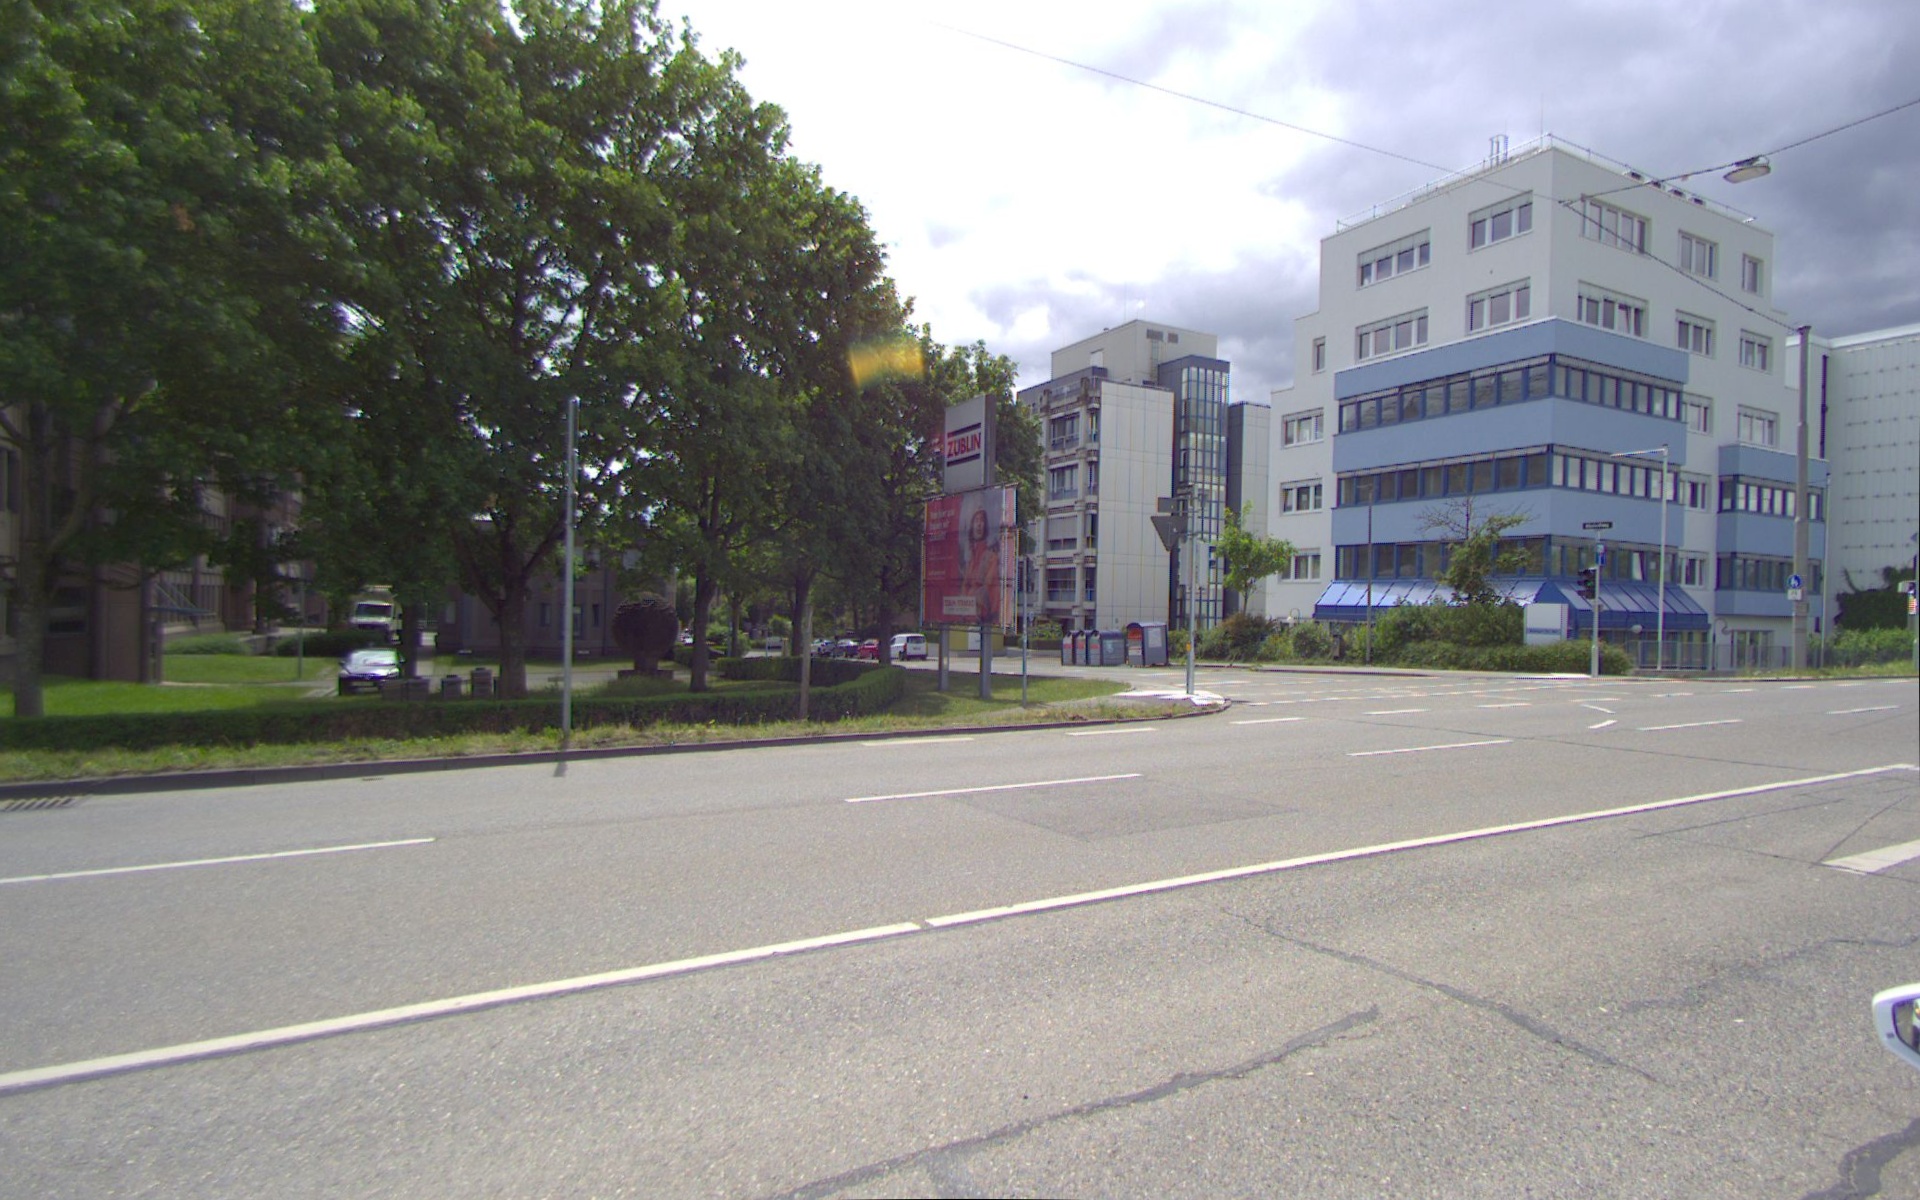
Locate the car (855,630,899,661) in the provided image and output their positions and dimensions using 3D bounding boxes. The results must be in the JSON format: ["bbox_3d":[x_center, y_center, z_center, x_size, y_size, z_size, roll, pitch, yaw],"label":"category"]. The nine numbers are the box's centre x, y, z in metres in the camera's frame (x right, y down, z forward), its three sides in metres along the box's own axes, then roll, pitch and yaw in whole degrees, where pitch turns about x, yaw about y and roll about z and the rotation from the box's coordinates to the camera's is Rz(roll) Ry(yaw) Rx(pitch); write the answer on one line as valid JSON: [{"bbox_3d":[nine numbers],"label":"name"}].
[{"bbox_3d":[-6.053,3.294,73.136,1.868,2.040,3.974,2,-1,-26],"label":"car"}]

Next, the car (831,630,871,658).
[{"bbox_3d":[-8.478,3.384,77.818,1.848,2.040,3.973,2,-1,-26],"label":"car"}]

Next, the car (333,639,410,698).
[{"bbox_3d":[-18.572,2.127,31.838,1.763,1.750,3.975,1,-3,-26],"label":"car"}]

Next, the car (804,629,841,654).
[{"bbox_3d":[-11.416,3.457,83.336,1.875,1.919,3.973,2,-1,-26],"label":"car"}]

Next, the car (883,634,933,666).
[{"bbox_3d":[-3.554,3.349,68.112,1.974,2.006,3.974,2,-1,-26],"label":"car"}]

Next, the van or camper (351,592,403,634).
[{"bbox_3d":[-32.141,0.695,55.364,2.332,2.132,5.161,2,-1,-31],"label":"van or camper"}]
